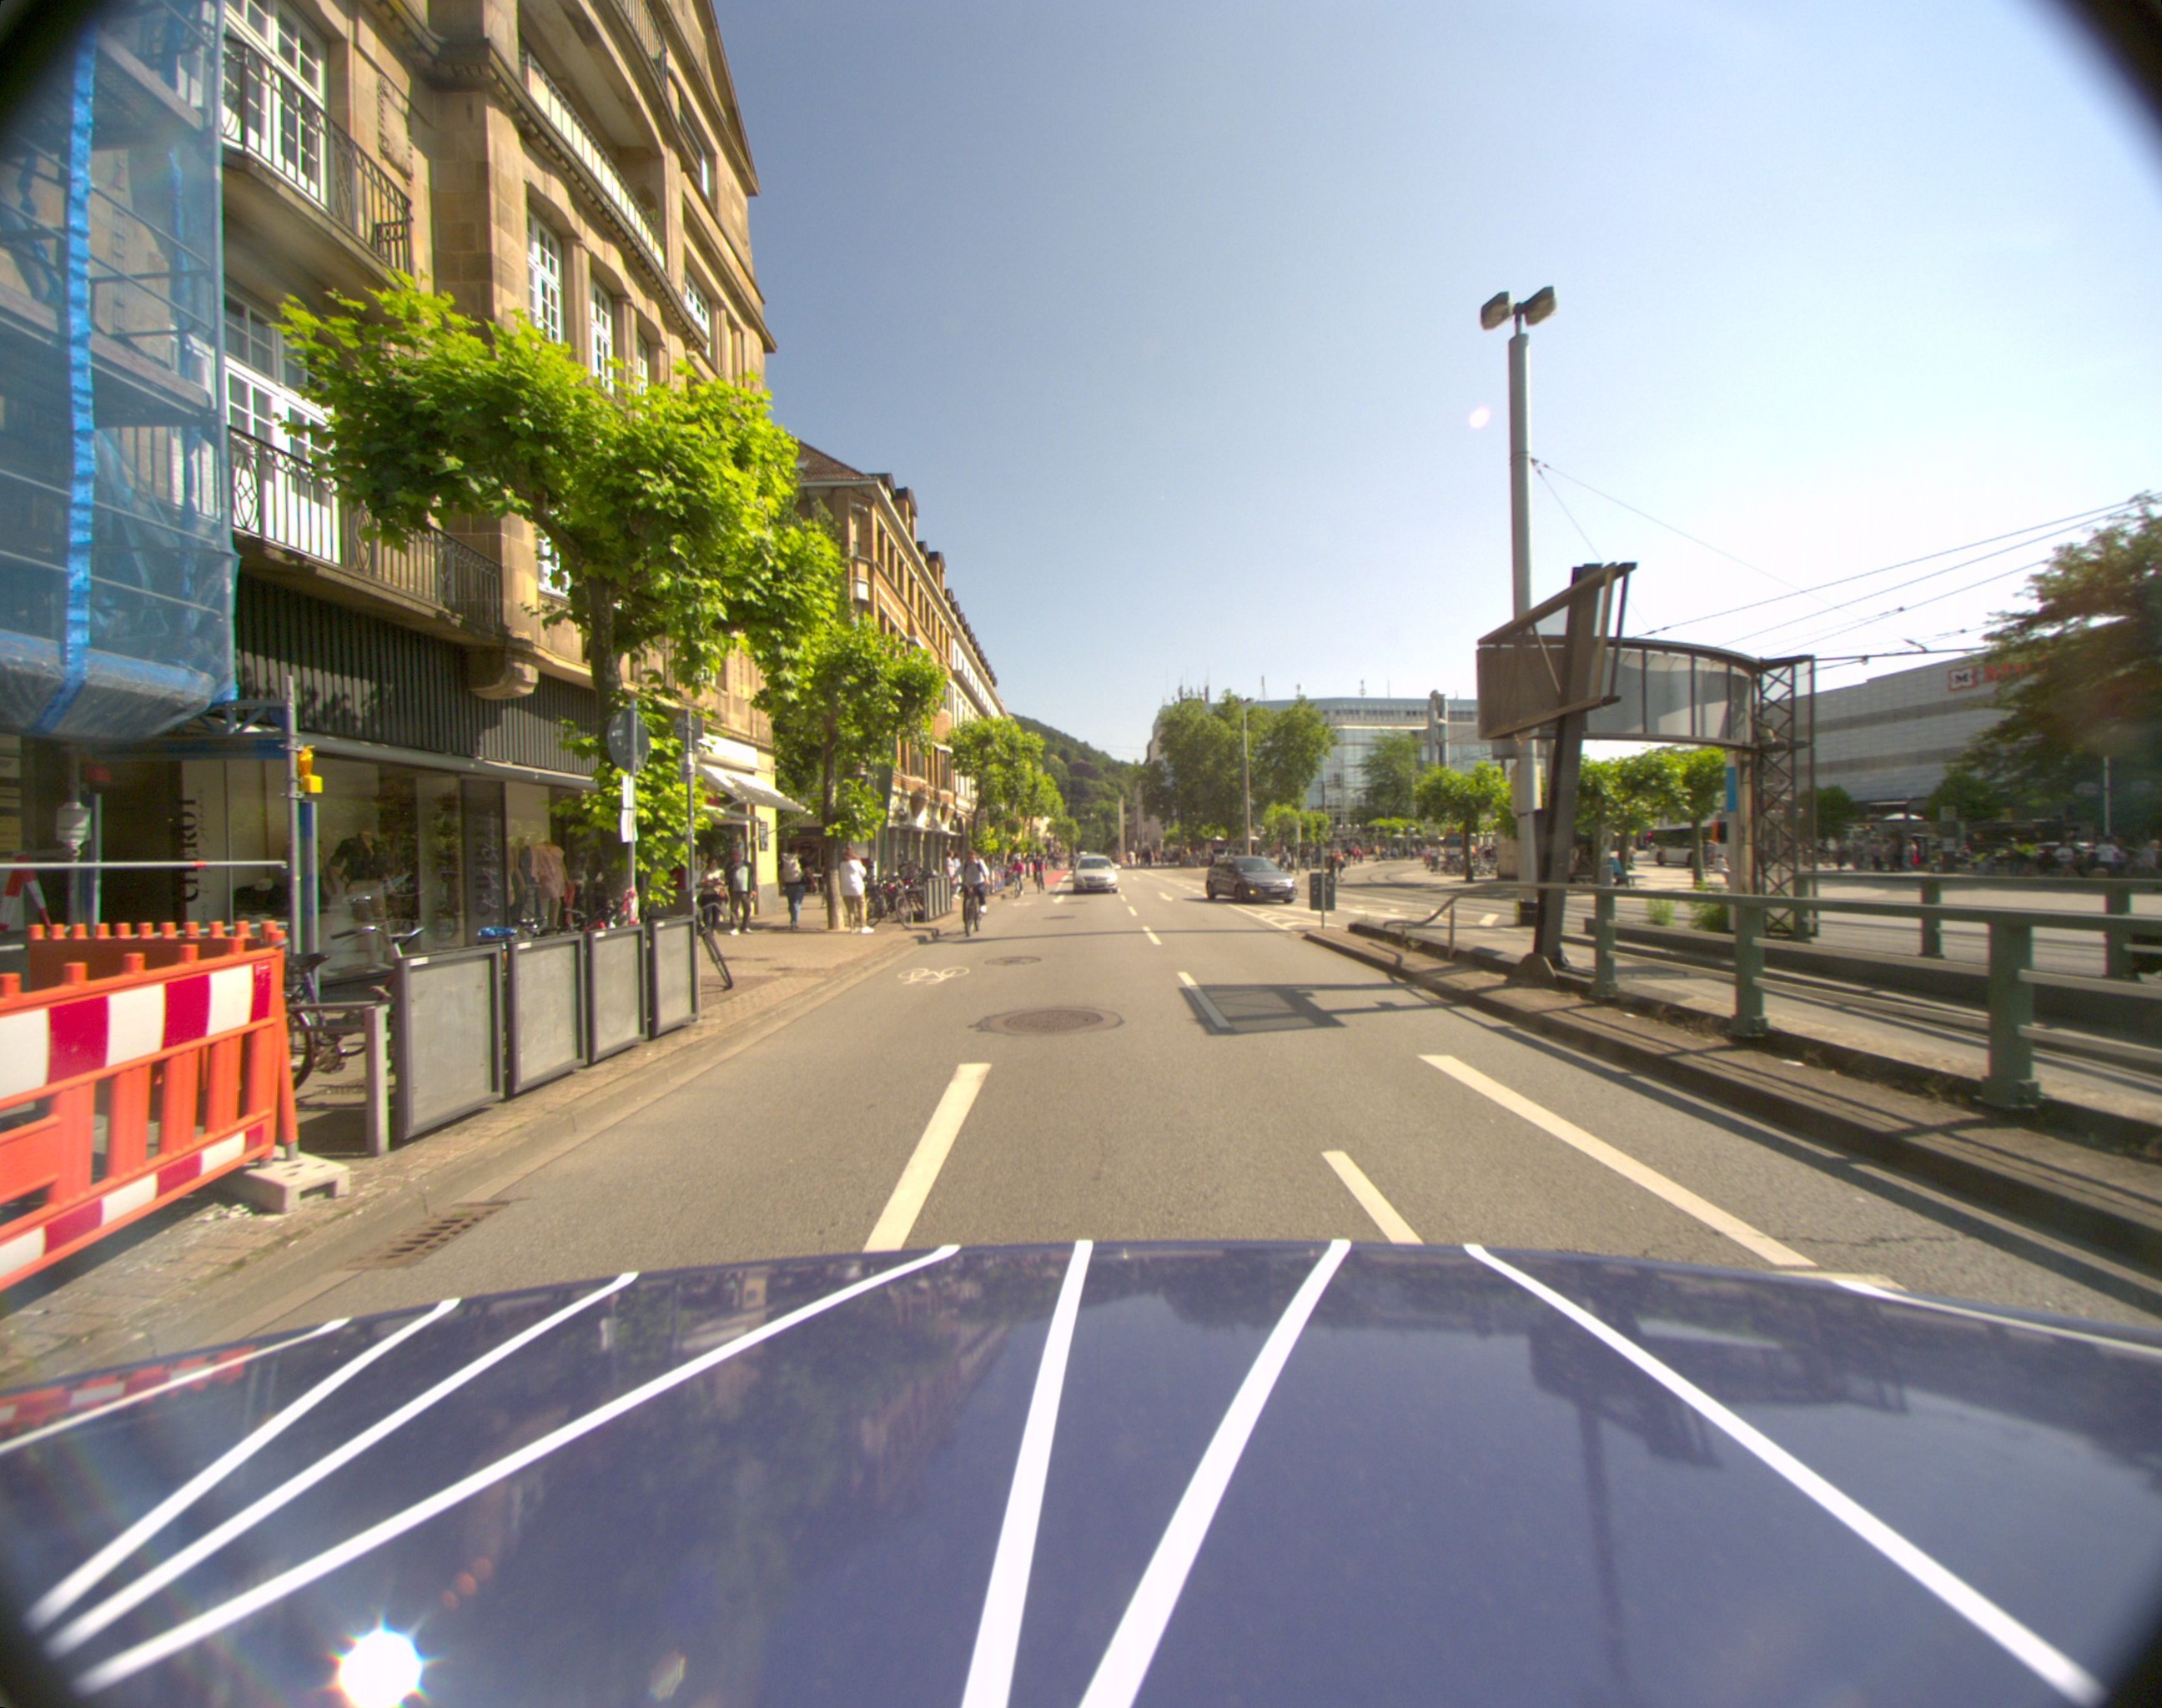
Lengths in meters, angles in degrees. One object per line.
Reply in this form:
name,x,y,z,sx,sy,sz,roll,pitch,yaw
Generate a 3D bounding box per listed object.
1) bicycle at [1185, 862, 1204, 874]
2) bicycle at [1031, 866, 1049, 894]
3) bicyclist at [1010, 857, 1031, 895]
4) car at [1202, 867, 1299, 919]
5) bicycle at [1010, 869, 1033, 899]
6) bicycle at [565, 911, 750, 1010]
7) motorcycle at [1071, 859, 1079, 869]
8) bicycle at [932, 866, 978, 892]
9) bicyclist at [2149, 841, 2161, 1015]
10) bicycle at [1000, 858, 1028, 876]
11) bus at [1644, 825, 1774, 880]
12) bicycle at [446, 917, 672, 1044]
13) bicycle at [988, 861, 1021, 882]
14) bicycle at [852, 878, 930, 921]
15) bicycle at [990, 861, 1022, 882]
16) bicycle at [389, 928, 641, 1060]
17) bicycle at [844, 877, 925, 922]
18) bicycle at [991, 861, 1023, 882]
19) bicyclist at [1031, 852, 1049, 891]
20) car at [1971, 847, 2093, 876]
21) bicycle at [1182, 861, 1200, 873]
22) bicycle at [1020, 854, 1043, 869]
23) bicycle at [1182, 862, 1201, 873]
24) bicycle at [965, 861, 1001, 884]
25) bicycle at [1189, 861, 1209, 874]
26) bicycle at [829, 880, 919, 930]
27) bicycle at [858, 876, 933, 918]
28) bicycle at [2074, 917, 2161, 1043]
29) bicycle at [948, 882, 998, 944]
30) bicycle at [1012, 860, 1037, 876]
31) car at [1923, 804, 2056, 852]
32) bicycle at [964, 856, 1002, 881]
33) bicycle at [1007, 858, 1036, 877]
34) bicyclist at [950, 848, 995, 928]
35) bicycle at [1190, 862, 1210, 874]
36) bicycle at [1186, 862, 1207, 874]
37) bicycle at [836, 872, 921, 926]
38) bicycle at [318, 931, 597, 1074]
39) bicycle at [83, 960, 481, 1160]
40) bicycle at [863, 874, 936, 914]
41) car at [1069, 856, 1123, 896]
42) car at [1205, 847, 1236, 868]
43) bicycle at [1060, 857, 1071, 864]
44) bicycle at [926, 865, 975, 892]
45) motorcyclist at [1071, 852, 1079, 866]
bicycle,10.750,1.313,72.099,1.757,1.140,0.483,-1,1,-1
bicycle,-1.691,1.078,31.733,0.667,1.086,1.897,-2,0,-2
bicyclist,-2.265,0.832,28.546,0.690,1.388,0.778,-2,0,-1
car,5.270,1.172,24.142,1.700,1.396,3.997,-1,0,-8
bicycle,-2.222,1.109,28.519,0.736,1.086,1.819,-2,0,-1
bicycle,-4.665,1.164,8.424,1.757,1.012,0.483,-1,0,-1
motorcycle,-0.657,1.114,83.823,0.736,1.086,1.898,-2,0,1
bicycle,-4.933,0.974,29.822,1.721,0.979,0.483,-1,0,-1
bicyclist,10.446,0.699,6.661,0.819,1.612,0.902,3,0,1
bicycle,-4.317,0.857,48.772,1.757,1.140,0.527,-1,1,-1
bus,44.745,-0.165,54.805,3.060,3.400,12.477,-2,0,20
bicycle,-5.015,1.184,7.429,1.761,1.012,0.482,-1,0,-29
bicycle,-4.219,0.965,42.016,1.757,1.140,0.483,-1,1,-1
bicycle,-4.619,1.095,18.529,1.757,1.012,0.587,0,0,-1
bicycle,-4.196,0.977,42.593,1.757,1.140,0.483,-1,1,-1
bicycle,-4.798,1.177,6.498,1.757,1.012,0.483,-1,0,-1
bicycle,-4.594,1.067,17.849,1.757,1.012,0.557,-1,0,-1
bicycle,-4.219,0.989,43.192,1.757,1.140,0.499,-1,1,-1
bicyclist,-1.696,0.729,31.787,0.690,1.567,0.778,-2,1,-2
car,53.730,0.410,43.053,1.760,1.499,3.998,-2,0,-5
bicycle,10.815,1.311,74.732,1.757,1.140,0.483,-1,1,-1
bicycle,-3.956,0.582,60.709,1.778,1.140,0.483,-1,1,-1
bicycle,10.746,1.314,74.037,1.757,1.140,0.483,-1,1,-1
bicycle,-4.912,0.946,38.240,1.757,1.140,0.483,-1,1,-1
bicycle,10.855,1.254,70.155,1.757,1.140,0.483,-1,1,-1
bicycle,-4.380,1.064,16.118,1.754,1.012,0.658,-1,0,18
bicycle,-4.678,1.076,19.173,1.757,1.012,0.483,-1,0,-1
bicycle,10.412,1.202,6.700,0.819,1.114,1.874,2,0,1
bicycle,-2.182,1.171,15.568,0.736,1.086,1.897,-2,0,-1
bicycle,-4.016,1.001,54.278,1.757,1.140,0.483,-1,1,-1
car,59.012,-1.604,49.537,1.958,2.870,5.396,-2,0,-5
bicycle,-4.714,0.689,36.525,1.757,1.140,0.483,-1,1,-1
bicycle,-3.774,0.859,48.155,1.757,1.140,0.483,-1,1,-1
bicyclist,-2.201,0.675,15.531,0.750,1.567,0.778,-2,1,0
bicycle,10.886,1.284,69.665,1.757,1.140,0.483,-1,1,-1
bicycle,10.814,1.313,70.995,1.865,1.140,0.483,-1,1,-1
bicycle,-4.581,1.020,17.251,1.757,1.174,0.579,-1,0,-1
bicycle,-4.854,1.142,5.974,1.757,1.012,0.483,-1,0,-1
bicycle,-4.586,1.167,4.428,1.757,1.012,0.483,-1,0,-1
bicycle,-4.705,1.036,19.766,1.757,1.012,0.483,-1,0,-1
car,0.592,0.809,29.736,1.918,1.401,4.000,-2,0,2
car,13.911,0.309,75.723,1.995,2.002,5.074,-2,0,22
bicycle,-2.357,1.029,117.255,1.757,1.140,0.592,-1,0,-1
bicycle,-4.952,0.932,28.877,1.757,1.012,0.483,-1,0,-1
motorcyclist,-0.673,0.536,83.863,0.736,1.445,0.707,-2,1,1
